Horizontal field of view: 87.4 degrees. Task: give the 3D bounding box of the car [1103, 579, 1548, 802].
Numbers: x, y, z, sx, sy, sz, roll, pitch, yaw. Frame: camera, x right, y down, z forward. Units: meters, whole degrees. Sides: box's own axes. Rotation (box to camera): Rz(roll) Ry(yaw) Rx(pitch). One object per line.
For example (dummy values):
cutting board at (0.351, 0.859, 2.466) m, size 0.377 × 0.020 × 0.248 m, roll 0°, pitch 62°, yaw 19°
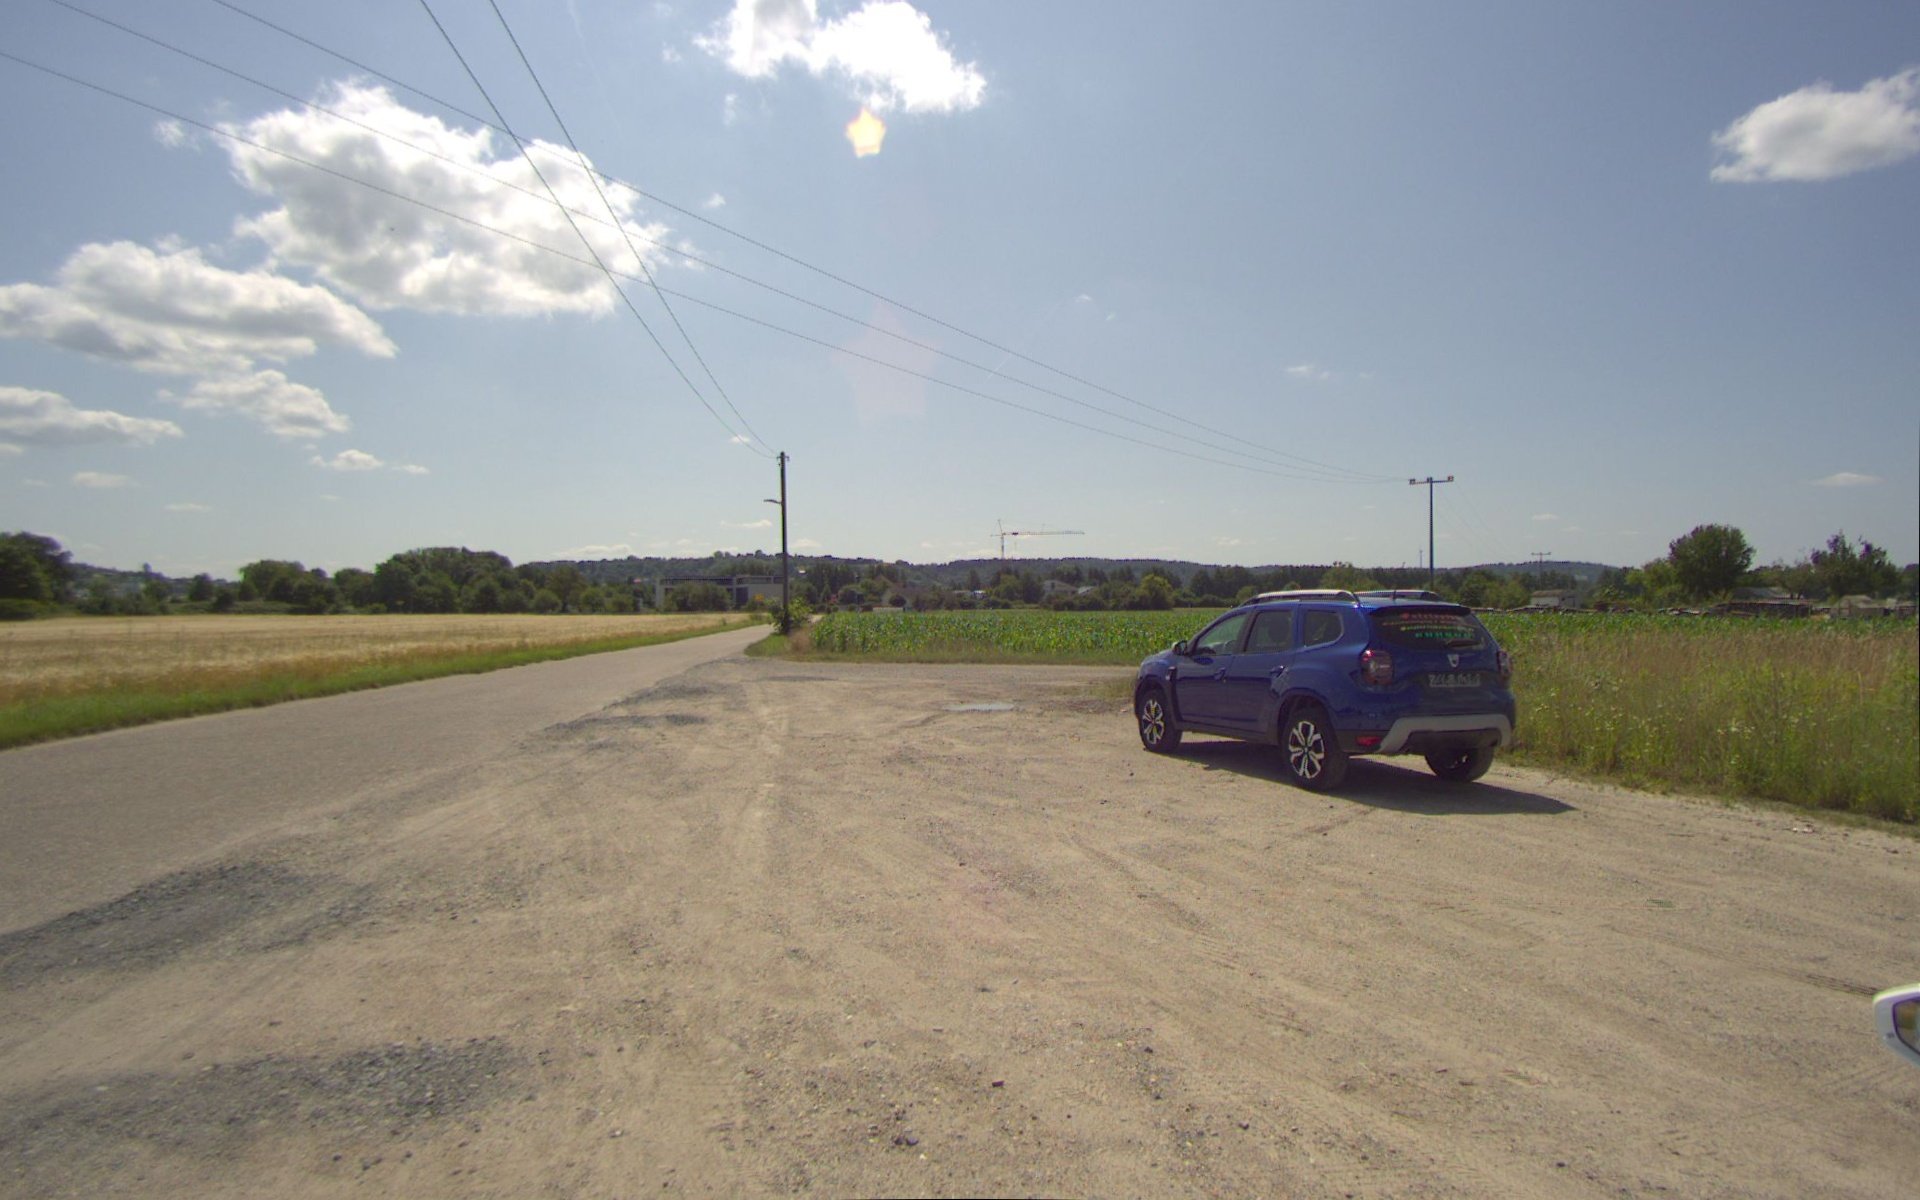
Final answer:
car at (3.242, 0.741, 10.017) m, size 1.835 × 1.683 × 4.441 m, roll 0°, pitch -1°, yaw -18°
